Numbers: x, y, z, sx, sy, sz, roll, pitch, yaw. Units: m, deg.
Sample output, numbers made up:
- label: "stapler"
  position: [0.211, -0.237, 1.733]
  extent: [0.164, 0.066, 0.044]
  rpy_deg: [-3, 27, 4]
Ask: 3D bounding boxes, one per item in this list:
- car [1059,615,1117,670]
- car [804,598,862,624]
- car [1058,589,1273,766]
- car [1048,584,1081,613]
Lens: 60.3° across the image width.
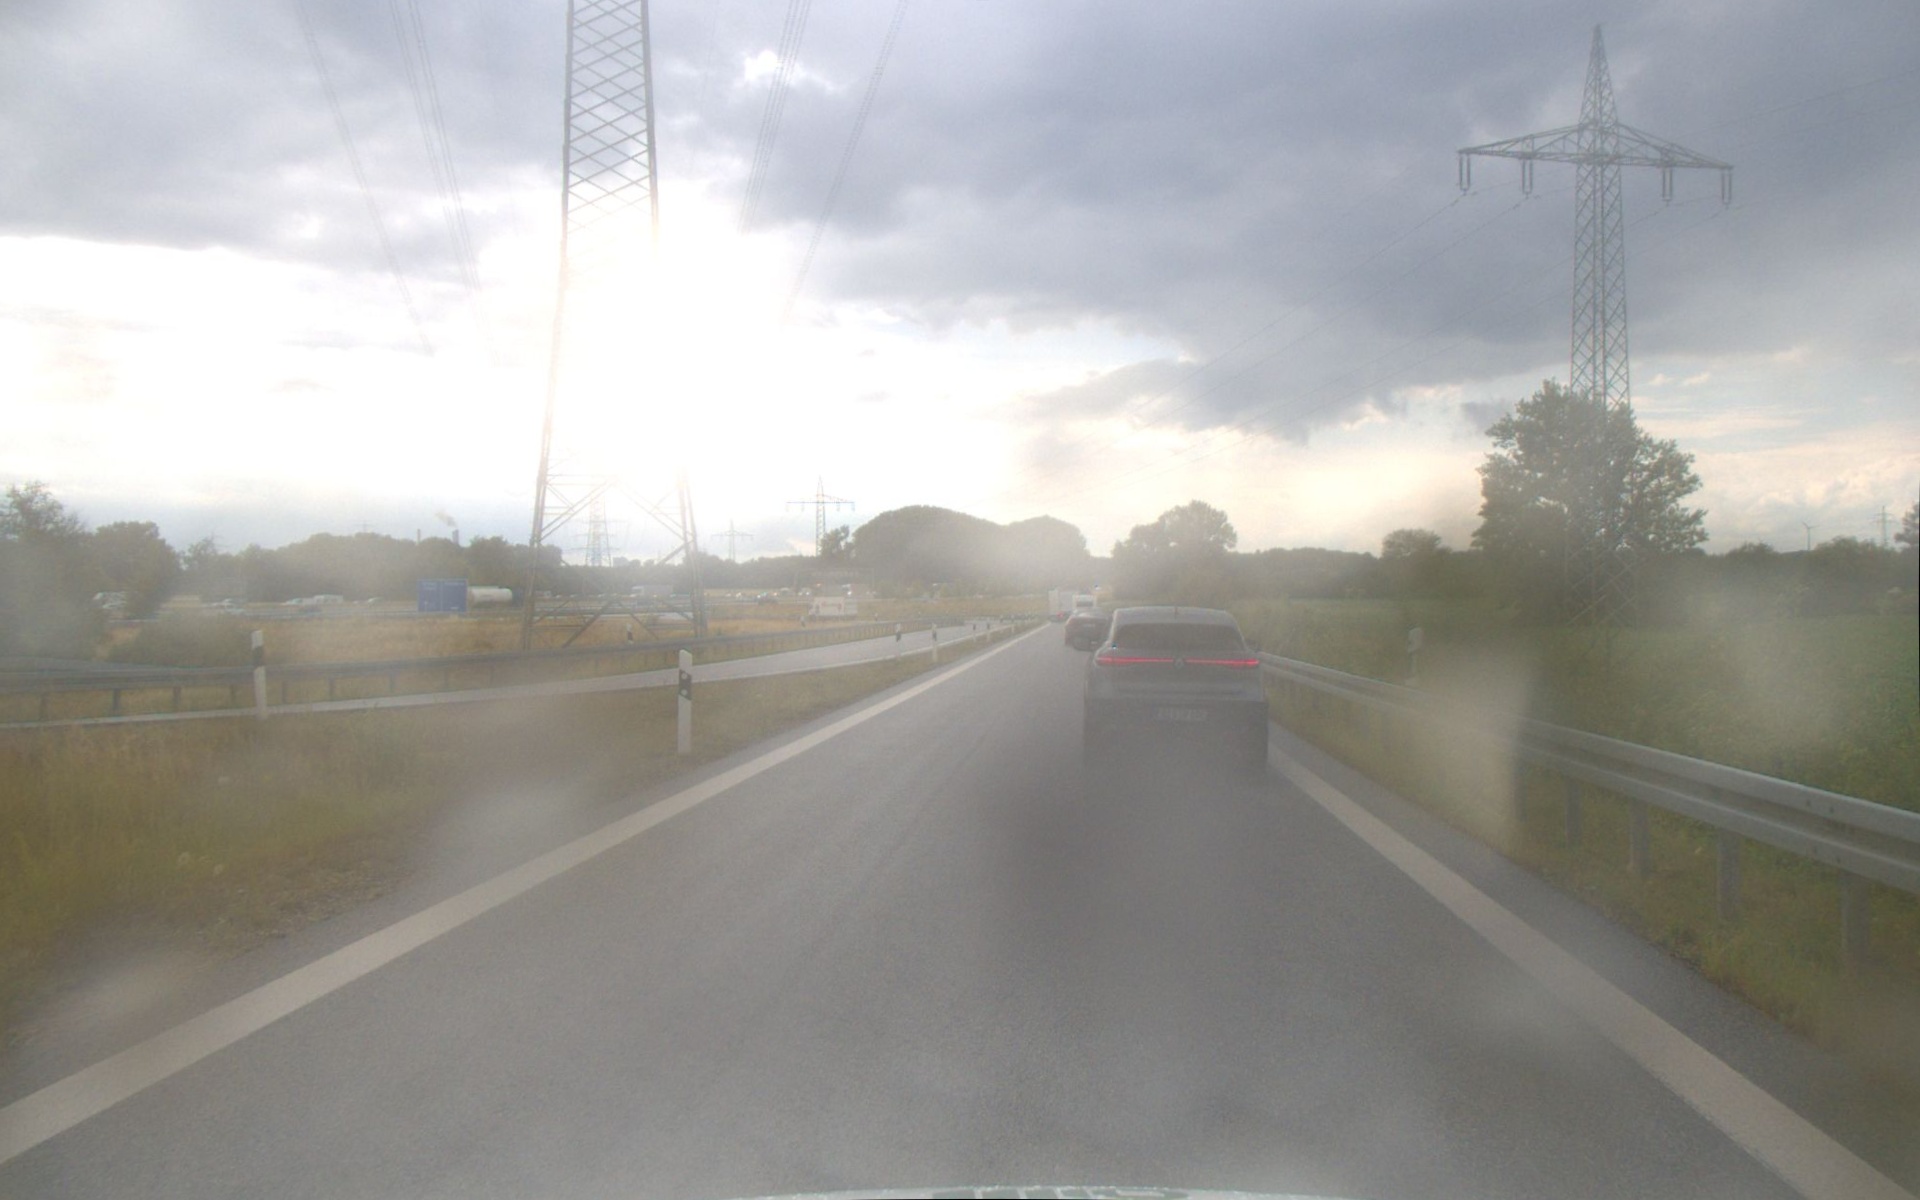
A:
- label: "car"
  position: [5.142, 1.686, 67.162]
  extent: [2.077, 2.053, 5.535]
  rpy_deg: [-1, 0, 2]
- label: "car"
  position: [-18.549, 1.567, 240.476]
  extent: [8.890, 3.674, 3.371]
  rpy_deg: [-1, 0, 44]
- label: "car"
  position: [2.141, 0.701, 17.370]
  extent: [1.951, 1.594, 4.152]
  rpy_deg: [1, 0, 7]
- label: "car"
  position: [11.504, -0.195, 182.359]
  extent: [3.072, 3.002, 7.209]
  rpy_deg: [0, 2, -1]
